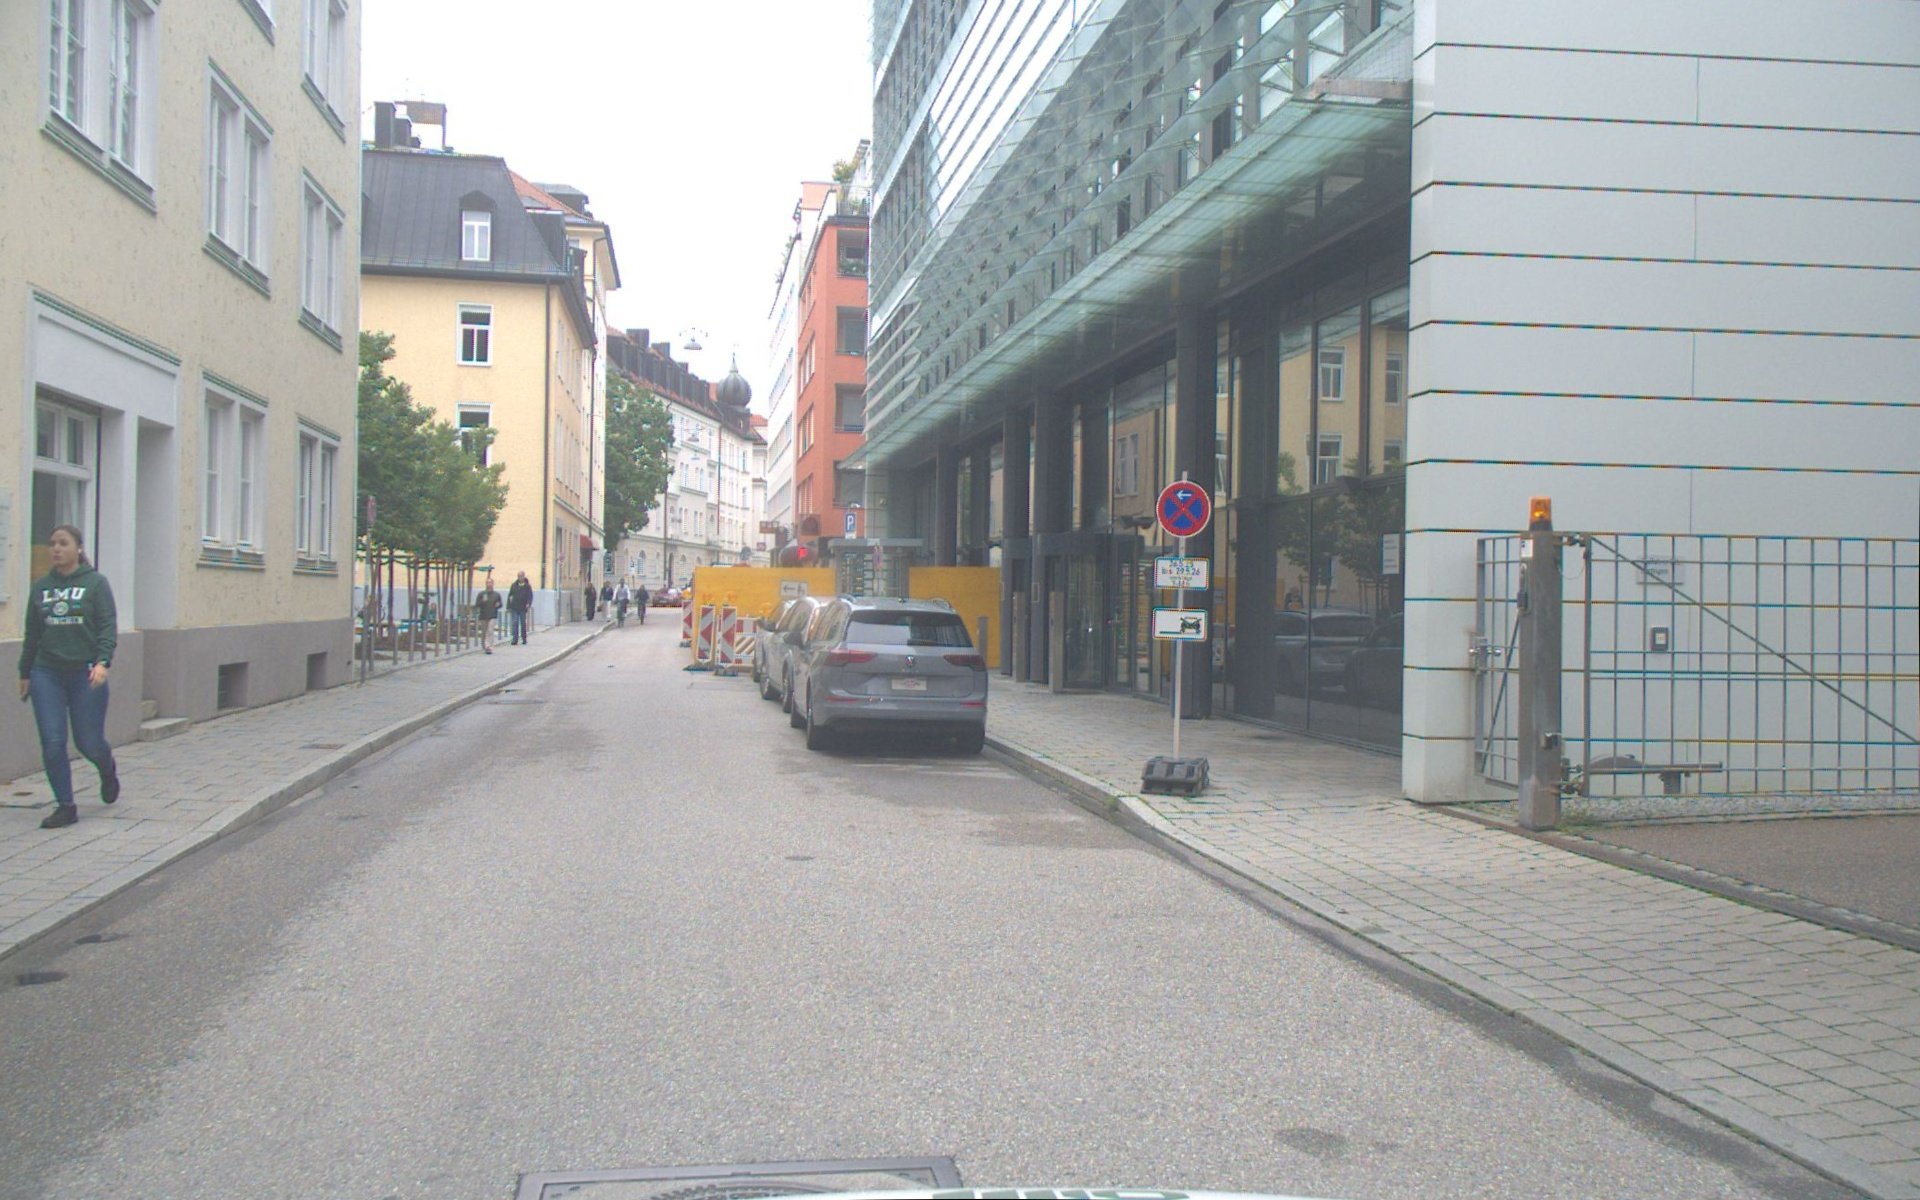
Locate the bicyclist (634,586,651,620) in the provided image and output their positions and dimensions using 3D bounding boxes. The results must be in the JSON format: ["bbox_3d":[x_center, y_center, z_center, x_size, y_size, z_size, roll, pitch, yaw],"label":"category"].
[{"bbox_3d":[-13.192,0.114,68.702,0.695,1.395,0.811,0,0,-10],"label":"bicyclist"}]

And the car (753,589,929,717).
[{"bbox_3d":[-1.692,0.650,22.222,1.678,1.493,4.223,3,-1,-13],"label":"car"}]

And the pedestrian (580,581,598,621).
[{"bbox_3d":[-15.727,0.054,70.100,0.658,1.677,0.759,2,-1,-11],"label":"pedestrian"}]

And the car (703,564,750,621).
[{"bbox_3d":[-11.115,-0.356,78.597,1.958,2.581,4.962,2,0,-11],"label":"car"}]

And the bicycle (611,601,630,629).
[{"bbox_3d":[-13.181,0.564,64.290,0.649,1.057,2.000,0,0,-10],"label":"bicycle"}]

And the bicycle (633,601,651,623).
[{"bbox_3d":[-13.198,0.489,68.736,0.695,0.921,1.805,0,0,-10],"label":"bicycle"}]

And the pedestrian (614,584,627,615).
[{"bbox_3d":[-19.025,-0.037,92.671,0.623,1.704,0.516,2,0,-10],"label":"pedestrian"}]

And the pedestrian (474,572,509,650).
[{"bbox_3d":[-10.397,0.245,36.718,0.635,1.706,0.722,2,-1,-11],"label":"pedestrian"}]

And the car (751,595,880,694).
[{"bbox_3d":[-2.468,0.688,27.313,1.677,1.438,4.498,2,-1,-10],"label":"car"}]

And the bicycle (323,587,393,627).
[{"bbox_3d":[-19.501,0.220,53.621,2.002,1.218,0.569,2,0,-3],"label":"bicycle"}]

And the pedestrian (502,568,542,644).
[{"bbox_3d":[-11.325,0.146,42.789,0.852,1.914,1.132,2,-1,-11],"label":"pedestrian"}]

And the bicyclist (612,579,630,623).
[{"bbox_3d":[-13.187,0.045,64.349,0.647,1.671,0.893,0,0,-10],"label":"bicyclist"}]

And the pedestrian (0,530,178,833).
[{"bbox_3d":[-5.260,0.469,9.924,0.700,1.695,0.927,4,-1,-10],"label":"pedestrian"}]

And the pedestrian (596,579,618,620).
[{"bbox_3d":[-14.897,-0.018,69.808,0.824,1.730,0.801,2,-1,-11],"label":"pedestrian"}]

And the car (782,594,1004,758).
[{"bbox_3d":[-0.821,0.685,17.012,1.677,1.457,4.318,1,0,-10],"label":"car"}]
